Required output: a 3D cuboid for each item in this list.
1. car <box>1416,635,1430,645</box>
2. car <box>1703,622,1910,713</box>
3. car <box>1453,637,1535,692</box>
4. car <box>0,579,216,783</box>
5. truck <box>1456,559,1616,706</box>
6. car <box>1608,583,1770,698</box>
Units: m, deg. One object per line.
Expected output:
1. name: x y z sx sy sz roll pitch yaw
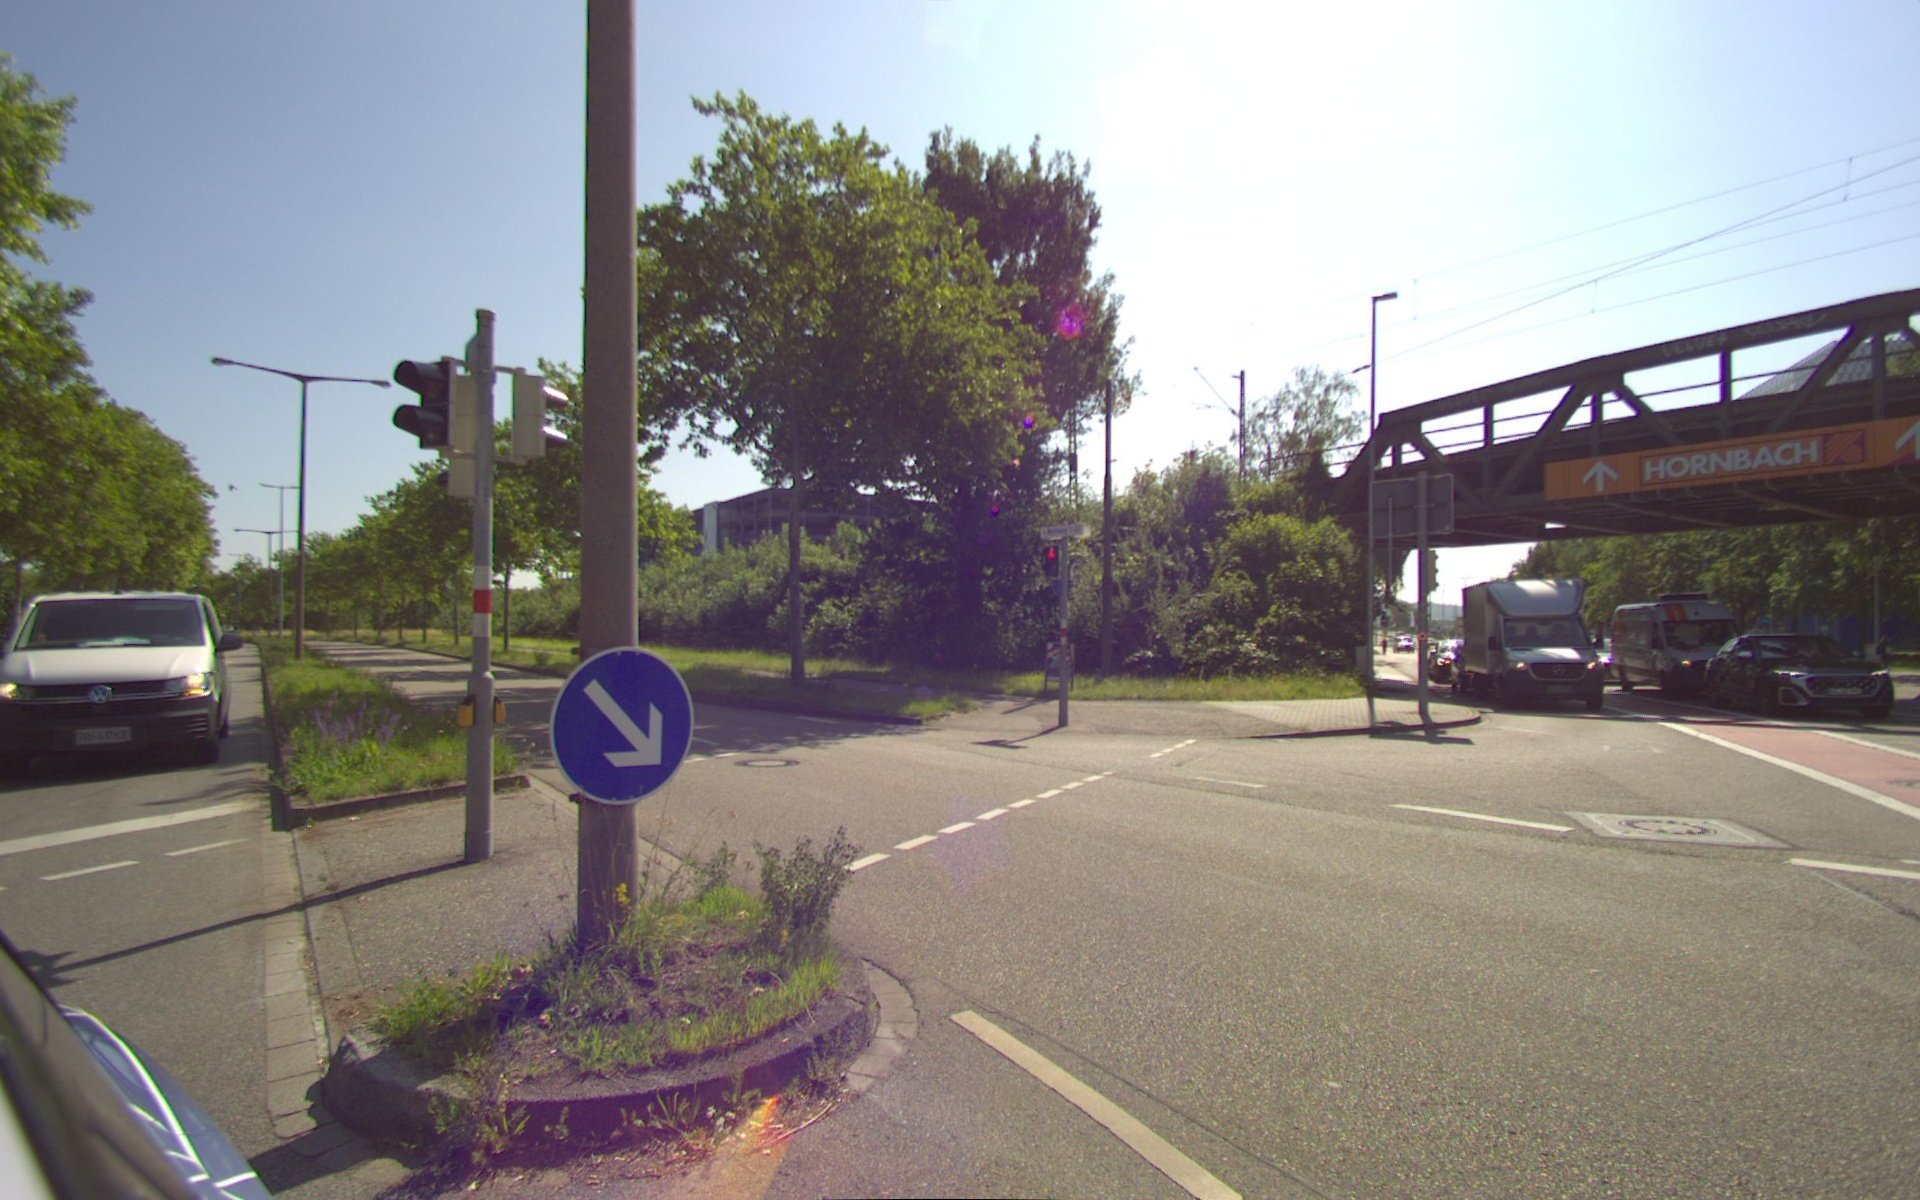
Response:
1. car: 82.660 7.151 180.698 1.924 1.674 4.196 -1 -2 23
2. car: 17.001 1.344 20.601 1.890 1.659 3.973 -1 -3 20
3. car: 16.542 1.944 31.519 1.879 1.400 4.205 -1 0 23
4. car: -9.937 0.821 11.931 1.843 1.915 4.892 1 -2 -37
5. truck: 14.099 0.880 25.280 2.202 3.130 6.819 -1 -3 20
6. car: 20.085 1.102 28.254 2.160 2.834 6.154 -1 -2 21
